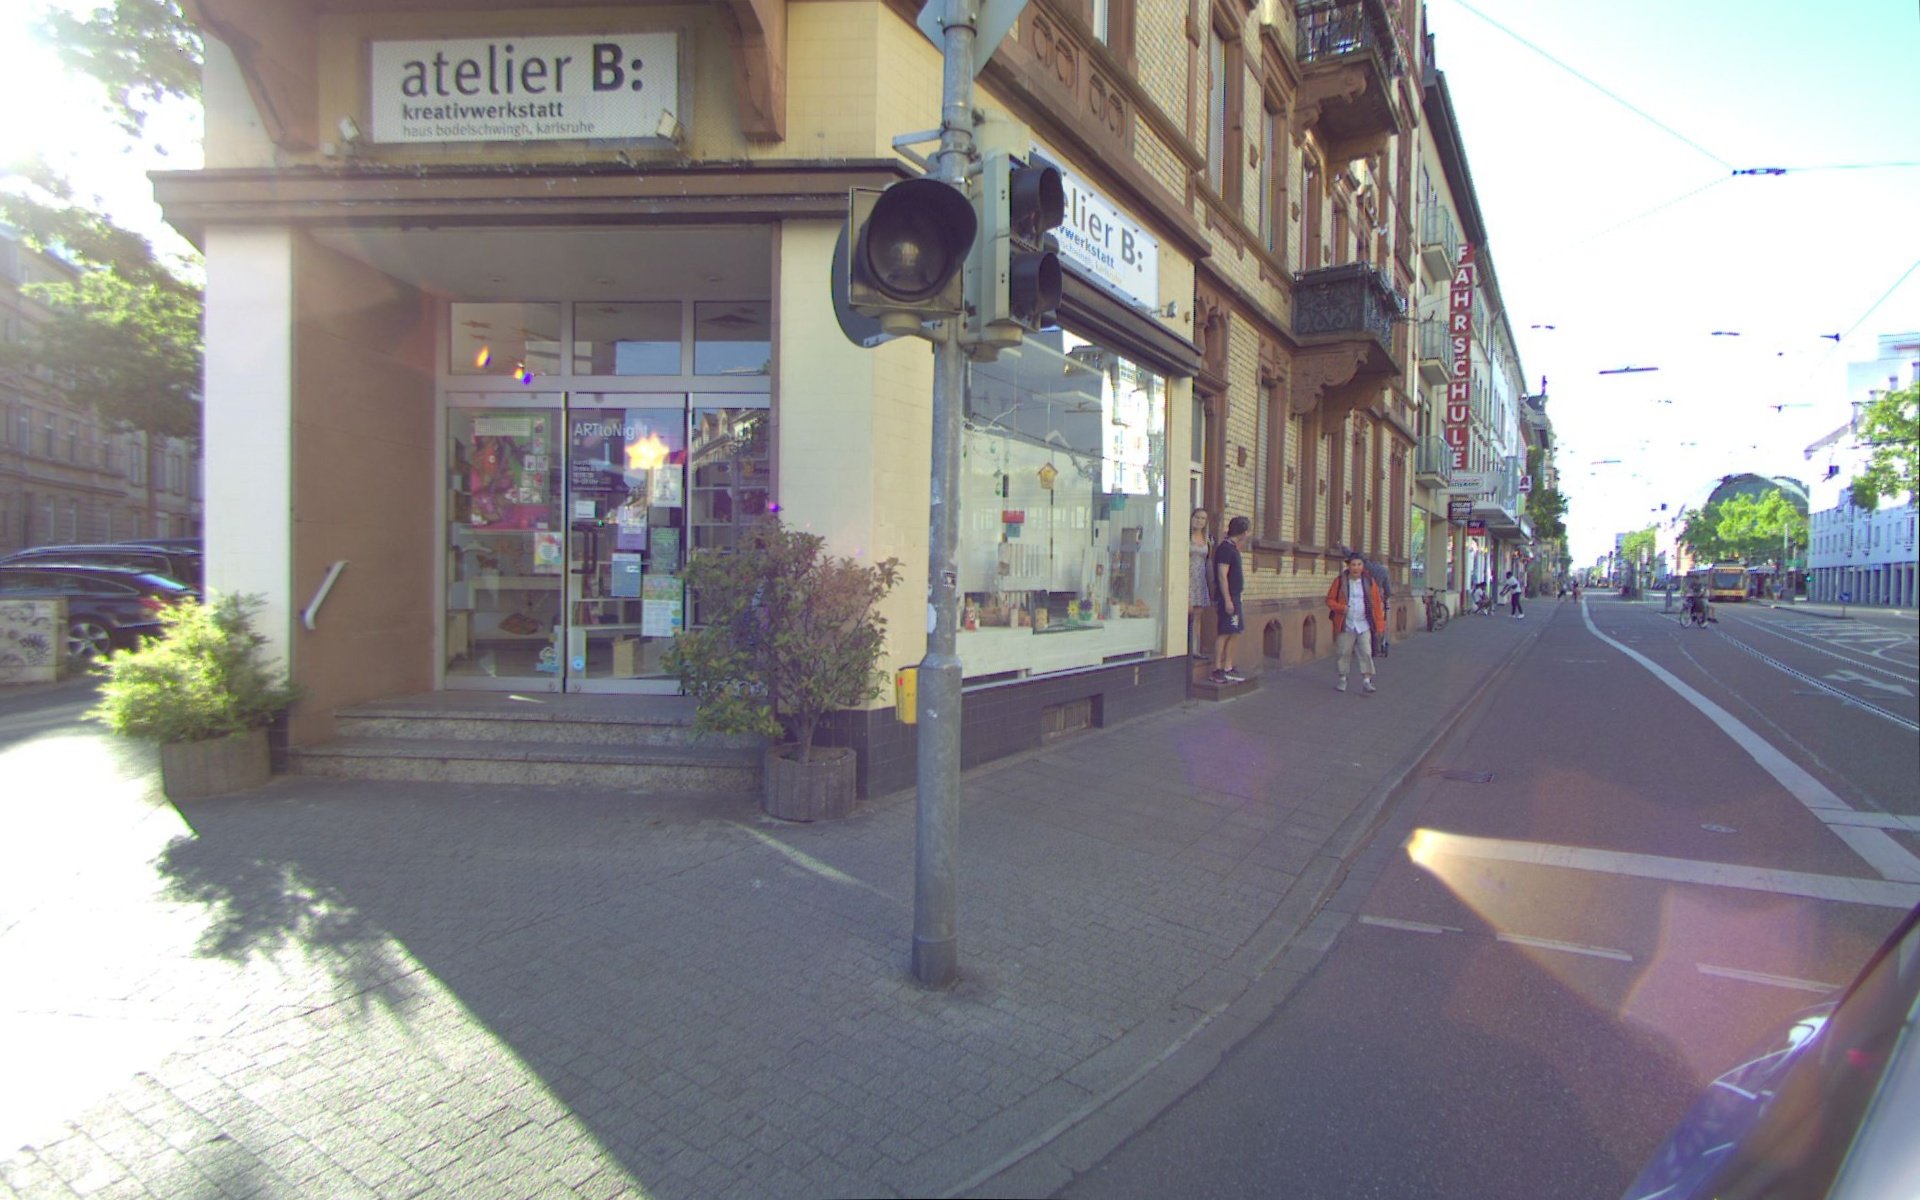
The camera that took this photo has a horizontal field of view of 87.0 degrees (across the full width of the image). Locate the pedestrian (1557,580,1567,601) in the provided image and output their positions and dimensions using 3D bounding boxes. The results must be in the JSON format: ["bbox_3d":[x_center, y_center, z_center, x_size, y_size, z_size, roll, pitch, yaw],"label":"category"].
[{"bbox_3d":[50.833,-0.836,85.479,0.647,1.737,0.795,2,2,37],"label":"pedestrian"}]

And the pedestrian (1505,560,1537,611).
[{"bbox_3d":[21.431,-0.552,38.650,0.667,1.833,0.706,2,5,-42],"label":"pedestrian"}]

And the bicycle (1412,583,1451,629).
[{"bbox_3d":[11.953,0.120,25.639,0.553,1.074,2.284,4,3,32],"label":"bicycle"}]

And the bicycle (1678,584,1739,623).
[{"bbox_3d":[25.639,0.110,34.670,1.793,1.184,0.685,-2,6,-16],"label":"bicycle"}]

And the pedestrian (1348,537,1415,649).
[{"bbox_3d":[7.238,-0.128,17.379,0.802,1.821,0.753,6,3,32],"label":"pedestrian"}]

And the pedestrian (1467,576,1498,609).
[{"bbox_3d":[20.483,-0.309,39.691,0.697,1.188,1.012,7,4,13],"label":"pedestrian"}]

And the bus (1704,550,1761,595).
[{"bbox_3d":[67.551,-2.383,88.695,2.800,3.611,13.518,2,2,33],"label":"bus"}]

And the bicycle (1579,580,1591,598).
[{"bbox_3d":[42.449,-0.765,68.761,0.677,1.185,1.812,1,1,31],"label":"bicycle"}]

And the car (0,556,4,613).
[{"bbox_3d":[-27.158,-0.367,26.232,1.765,1.593,4.009,0,2,-16],"label":"car"}]

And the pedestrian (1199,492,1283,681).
[{"bbox_3d":[3.016,-0.147,10.851,0.512,1.928,0.588,8,3,33],"label":"pedestrian"}]

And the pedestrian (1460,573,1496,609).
[{"bbox_3d":[19.859,-0.340,38.811,0.815,1.270,0.708,6,4,-2],"label":"pedestrian"}]

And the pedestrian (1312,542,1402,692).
[{"bbox_3d":[4.717,0.179,12.095,0.791,1.647,0.820,7,3,19],"label":"pedestrian"}]

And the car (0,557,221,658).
[{"bbox_3d":[-13.447,0.069,14.572,4.224,1.371,2.004,0,2,-25],"label":"car"}]

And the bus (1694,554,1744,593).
[{"bbox_3d":[74.754,-2.647,99.907,2.800,3.611,13.520,2,2,33],"label":"bus"}]

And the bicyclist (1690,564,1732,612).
[{"bbox_3d":[25.701,-0.418,34.639,0.820,1.567,0.693,-2,5,-16],"label":"bicyclist"}]

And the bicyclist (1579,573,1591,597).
[{"bbox_3d":[42.382,-1.001,68.655,0.672,1.634,0.828,1,1,31],"label":"bicyclist"}]

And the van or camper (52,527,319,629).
[{"bbox_3d":[-16.408,-0.478,21.764,4.224,2.010,2.004,0,2,-25],"label":"van or camper"}]

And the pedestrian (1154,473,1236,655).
[{"bbox_3d":[2.600,-0.394,11.171,0.512,1.928,0.588,8,3,33],"label":"pedestrian"}]

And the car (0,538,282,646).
[{"bbox_3d":[-14.136,-0.155,17.081,4.224,1.668,2.004,0,2,-25],"label":"car"}]
